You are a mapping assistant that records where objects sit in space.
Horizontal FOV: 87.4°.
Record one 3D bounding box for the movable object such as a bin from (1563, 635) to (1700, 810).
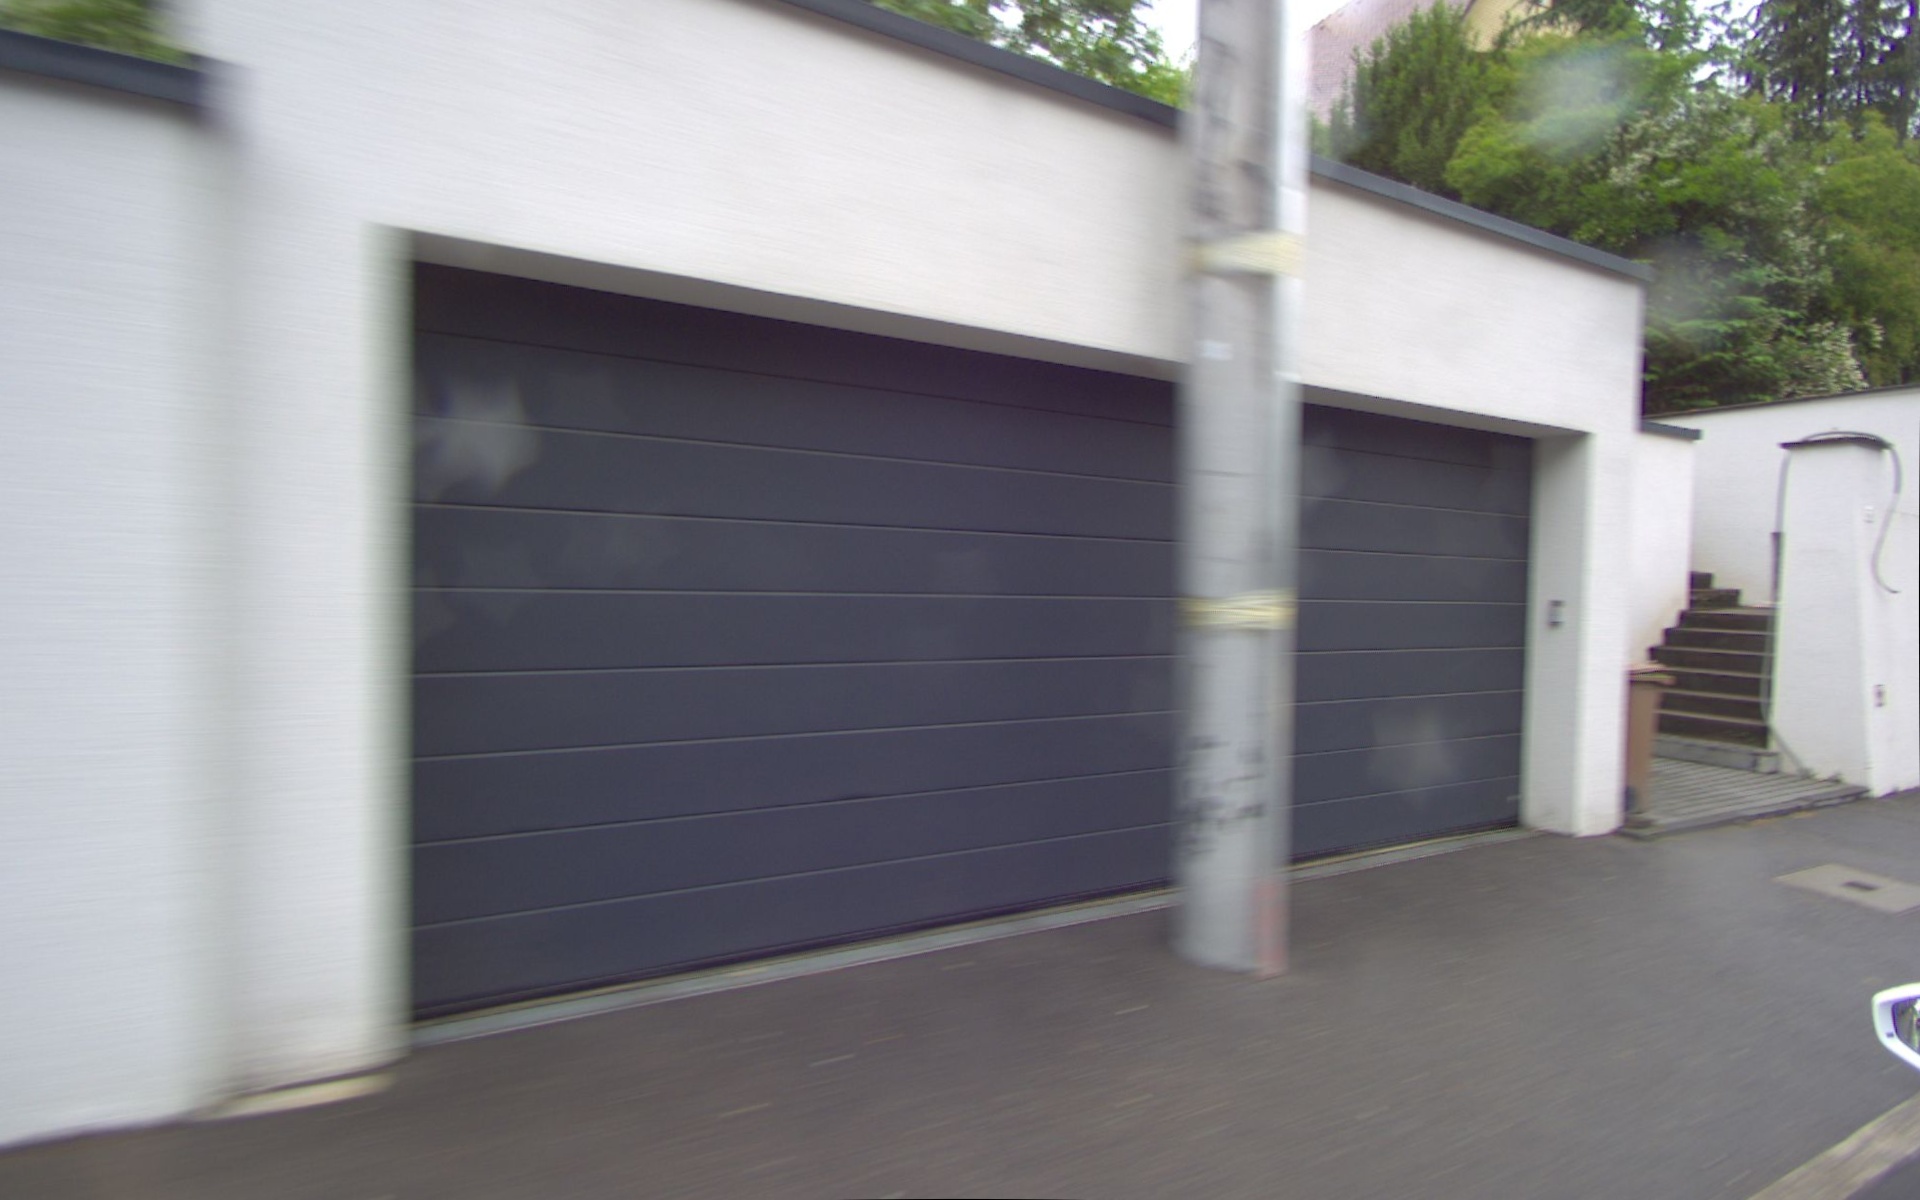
[{"bbox_3d":[4.338,0.769,6.499,0.516,1.035,0.501,2,2,-30],"label":"movable object such as a bin"}]
